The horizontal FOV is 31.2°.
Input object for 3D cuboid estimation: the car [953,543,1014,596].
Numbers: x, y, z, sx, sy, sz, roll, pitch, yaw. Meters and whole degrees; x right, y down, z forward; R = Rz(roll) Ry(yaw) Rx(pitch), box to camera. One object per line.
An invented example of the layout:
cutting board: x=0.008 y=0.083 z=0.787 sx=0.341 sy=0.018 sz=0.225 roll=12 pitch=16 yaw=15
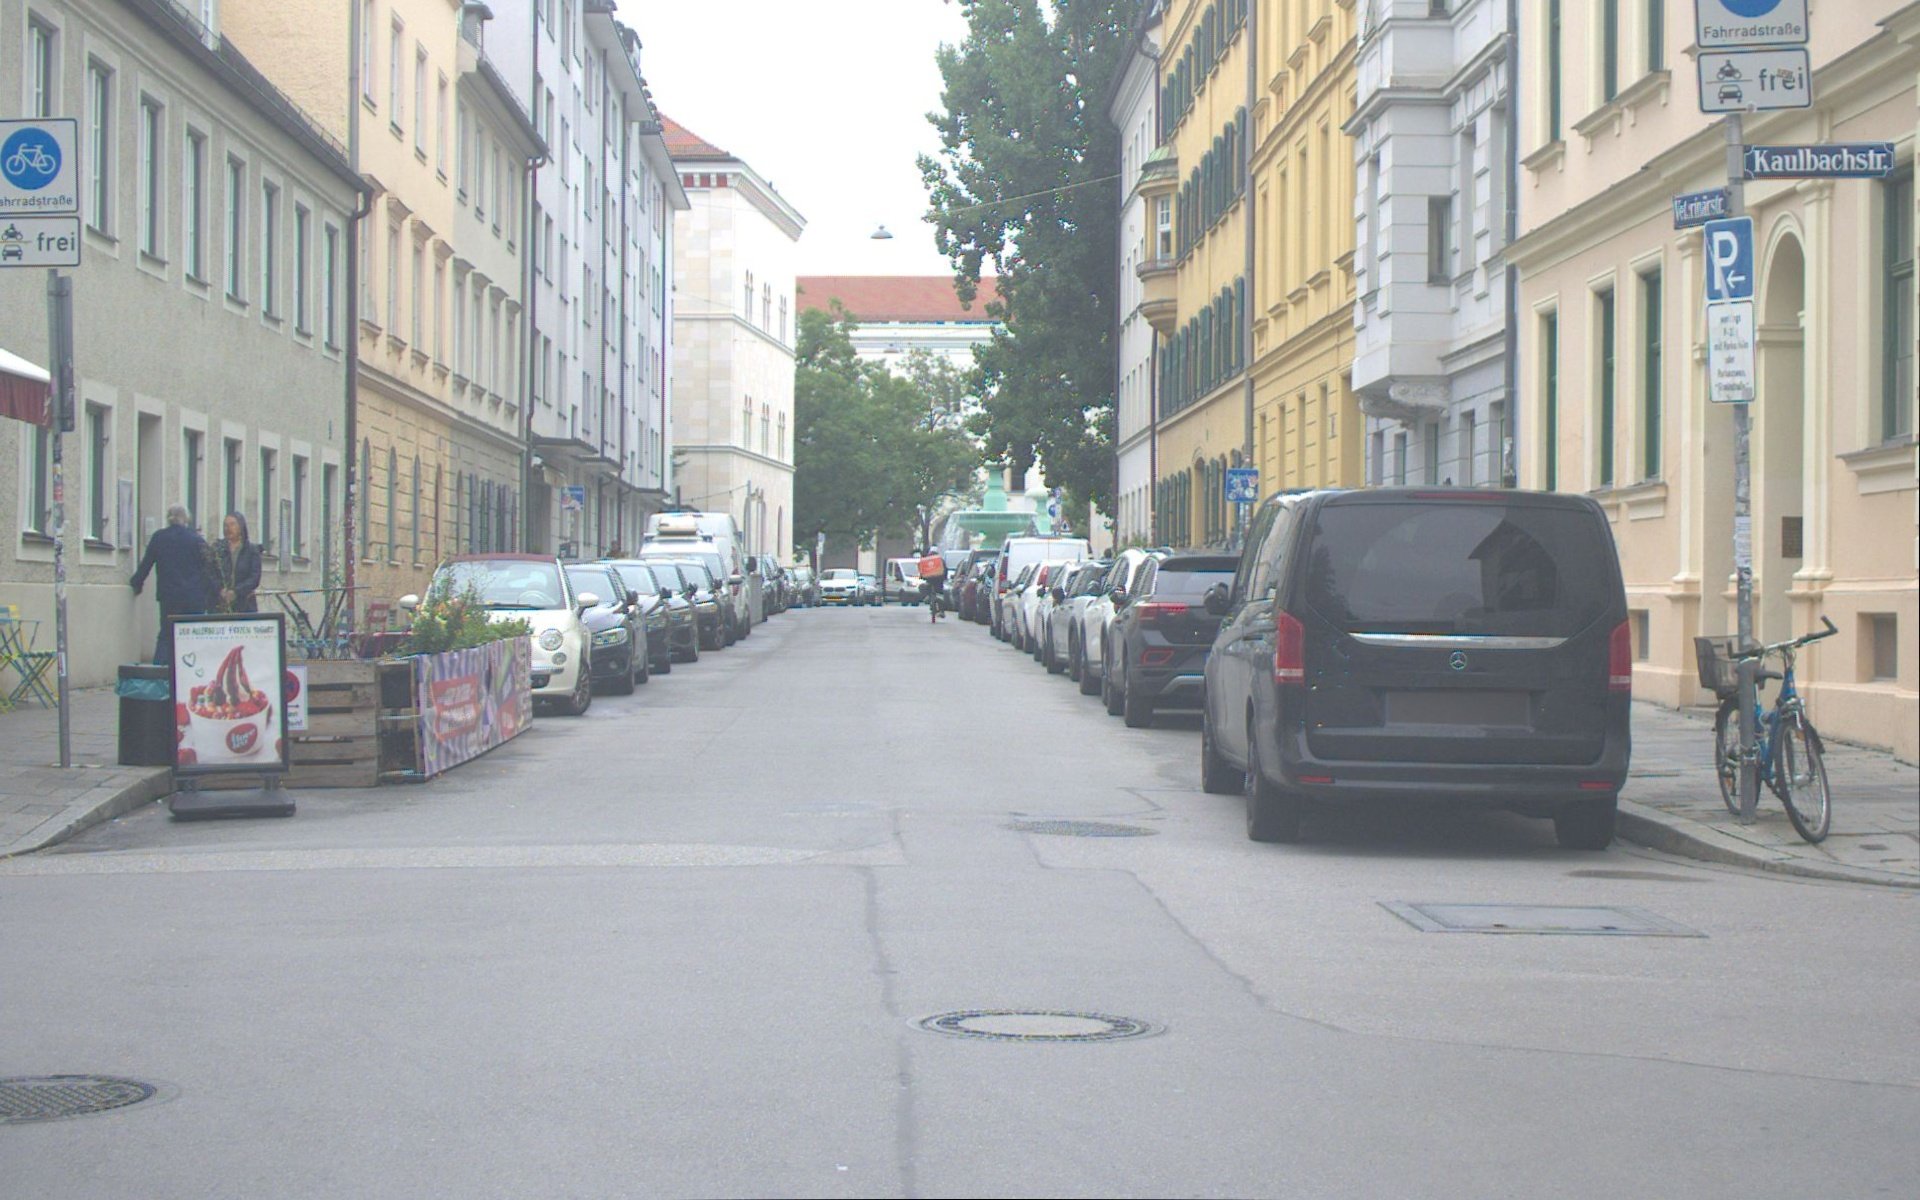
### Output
car: x=0.704 y=-0.929 z=105.360 sx=1.811 sy=1.609 sz=4.156 roll=0 pitch=0 yaw=-1

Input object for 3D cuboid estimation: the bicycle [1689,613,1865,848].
bicycle: x=4.228 y=0.648 z=17.874 sx=0.465 sy=1.049 sz=1.729 roll=-2 pitch=3 yaw=0

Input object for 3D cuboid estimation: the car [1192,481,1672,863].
car: x=2.499 y=0.312 z=19.541 sx=1.997 sy=1.858 sz=5.253 roll=1 pitch=1 yaw=0

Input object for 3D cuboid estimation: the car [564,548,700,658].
car: x=-4.644 y=0.008 z=48.855 sx=1.816 sy=1.436 sz=4.132 roll=-1 pitch=1 yaw=-5

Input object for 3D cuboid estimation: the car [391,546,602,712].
car: x=-4.347 y=0.233 z=32.682 sx=1.754 sy=1.470 sz=3.714 roll=1 pitch=1 yaw=-4

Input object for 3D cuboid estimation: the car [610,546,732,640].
car: x=-4.496 y=-0.128 z=53.941 sx=1.754 sy=1.404 sz=4.104 roll=0 pitch=1 yaw=-3

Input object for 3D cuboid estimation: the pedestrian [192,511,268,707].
pedestrian: x=-6.736 y=0.086 z=31.745 sx=0.528 sy=1.776 sz=0.877 roll=0 pitch=-1 yaw=-1

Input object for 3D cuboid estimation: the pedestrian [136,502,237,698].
pedestrian: x=-7.574 y=0.003 z=33.687 sx=0.822 sy=1.891 sz=0.827 roll=0 pitch=-1 yaw=-2

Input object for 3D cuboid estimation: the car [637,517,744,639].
car: x=-4.649 y=-0.389 z=58.864 sx=1.754 sy=1.988 sz=4.626 roll=0 pitch=1 yaw=-5

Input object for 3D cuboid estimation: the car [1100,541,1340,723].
car: x=2.262 y=0.246 z=30.887 sx=1.754 sy=1.516 sz=4.275 roll=0 pitch=1 yaw=-1

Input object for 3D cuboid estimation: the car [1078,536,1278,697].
car: x=2.232 y=0.140 z=36.245 sx=1.743 sy=1.578 sz=4.467 roll=0 pitch=1 yaw=-1

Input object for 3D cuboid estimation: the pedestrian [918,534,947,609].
pedestrian: x=-0.630 y=-0.644 z=79.225 sx=0.642 sy=1.708 sz=0.843 roll=0 pitch=-1 yaw=0

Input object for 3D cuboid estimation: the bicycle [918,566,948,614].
bicycle: x=-0.614 y=-0.229 z=79.209 sx=0.675 sy=1.091 sz=1.760 roll=0 pitch=0 yaw=0

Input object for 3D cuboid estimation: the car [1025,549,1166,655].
car: x=1.864 y=0.002 z=48.560 sx=1.708 sy=1.404 sz=4.815 roll=0 pitch=1 yaw=-1

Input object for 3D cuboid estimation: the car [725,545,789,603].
car: x=-5.777 y=-0.745 z=98.031 sx=1.706 sy=1.604 sz=3.863 roll=-1 pitch=1 yaw=-2

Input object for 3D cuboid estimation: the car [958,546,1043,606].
car: x=0.961 y=-0.594 z=84.448 sx=1.811 sy=1.420 sz=4.247 roll=1 pitch=0 yaw=-3

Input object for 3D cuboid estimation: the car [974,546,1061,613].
car: x=1.303 y=-0.474 z=79.441 sx=1.811 sy=1.460 sz=4.247 roll=1 pitch=0 yaw=-1

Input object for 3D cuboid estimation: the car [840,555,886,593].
car: x=-4.120 y=-1.104 z=146.710 sx=1.706 sy=1.576 sz=3.863 roll=-1 pitch=1 yaw=1

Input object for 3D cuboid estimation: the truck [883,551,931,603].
truck: x=-2.362 y=-0.996 z=154.024 sx=2.121 sy=2.240 sz=6.185 roll=0 pitch=0 yaw=-1

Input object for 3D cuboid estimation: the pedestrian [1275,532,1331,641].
pedestrian: x=5.054 y=-0.193 z=50.659 sx=0.660 sy=1.566 sz=0.642 roll=-3 pitch=-1 yaw=-1

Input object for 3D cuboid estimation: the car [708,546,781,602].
car: x=-5.798 y=-0.712 z=92.767 sx=1.817 sy=1.439 sz=3.819 roll=-1 pitch=1 yaw=-2

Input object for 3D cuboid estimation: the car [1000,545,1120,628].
car: x=1.702 y=-0.253 z=59.654 sx=1.708 sy=1.388 sz=4.207 roll=0 pitch=1 yaw=-3

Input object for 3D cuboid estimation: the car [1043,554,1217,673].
car: x=2.058 y=0.133 z=42.692 sx=1.708 sy=1.400 sz=4.208 roll=0 pitch=1 yaw=-3

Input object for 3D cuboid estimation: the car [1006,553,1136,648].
car: x=1.738 y=-0.016 z=54.898 sx=1.708 sy=1.449 sz=4.097 roll=0 pitch=1 yaw=-3

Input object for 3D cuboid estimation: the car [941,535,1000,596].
car: x=0.310 y=-1.113 z=111.231 sx=1.851 sy=1.913 sz=4.769 roll=0 pitch=0 yaw=-1

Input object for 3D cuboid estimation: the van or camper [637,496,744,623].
van or camper: x=-4.991 y=-0.752 z=64.187 sx=1.754 sy=2.273 sz=5.274 roll=0 pitch=1 yaw=-2

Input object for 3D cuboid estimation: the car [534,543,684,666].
car: x=-4.431 y=0.030 z=43.905 sx=1.754 sy=1.491 sz=4.201 roll=0 pitch=1 yaw=-4

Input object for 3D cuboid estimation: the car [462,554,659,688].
car: x=-4.351 y=0.189 z=38.008 sx=1.798 sy=1.335 sz=4.686 roll=0 pitch=1 yaw=-2

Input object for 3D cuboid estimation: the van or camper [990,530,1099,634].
van or camper: x=1.548 y=-0.362 z=64.663 sx=1.833 sy=1.865 sz=5.079 roll=0 pitch=1 yaw=-1

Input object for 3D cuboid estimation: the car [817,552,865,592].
car: x=-4.838 y=-1.145 z=140.564 sx=1.706 sy=1.576 sz=3.863 roll=-1 pitch=1 yaw=1

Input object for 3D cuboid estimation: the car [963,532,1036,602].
car: x=1.032 y=-0.877 z=91.449 sx=1.811 sy=1.791 sz=4.247 roll=1 pitch=0 yaw=-1
